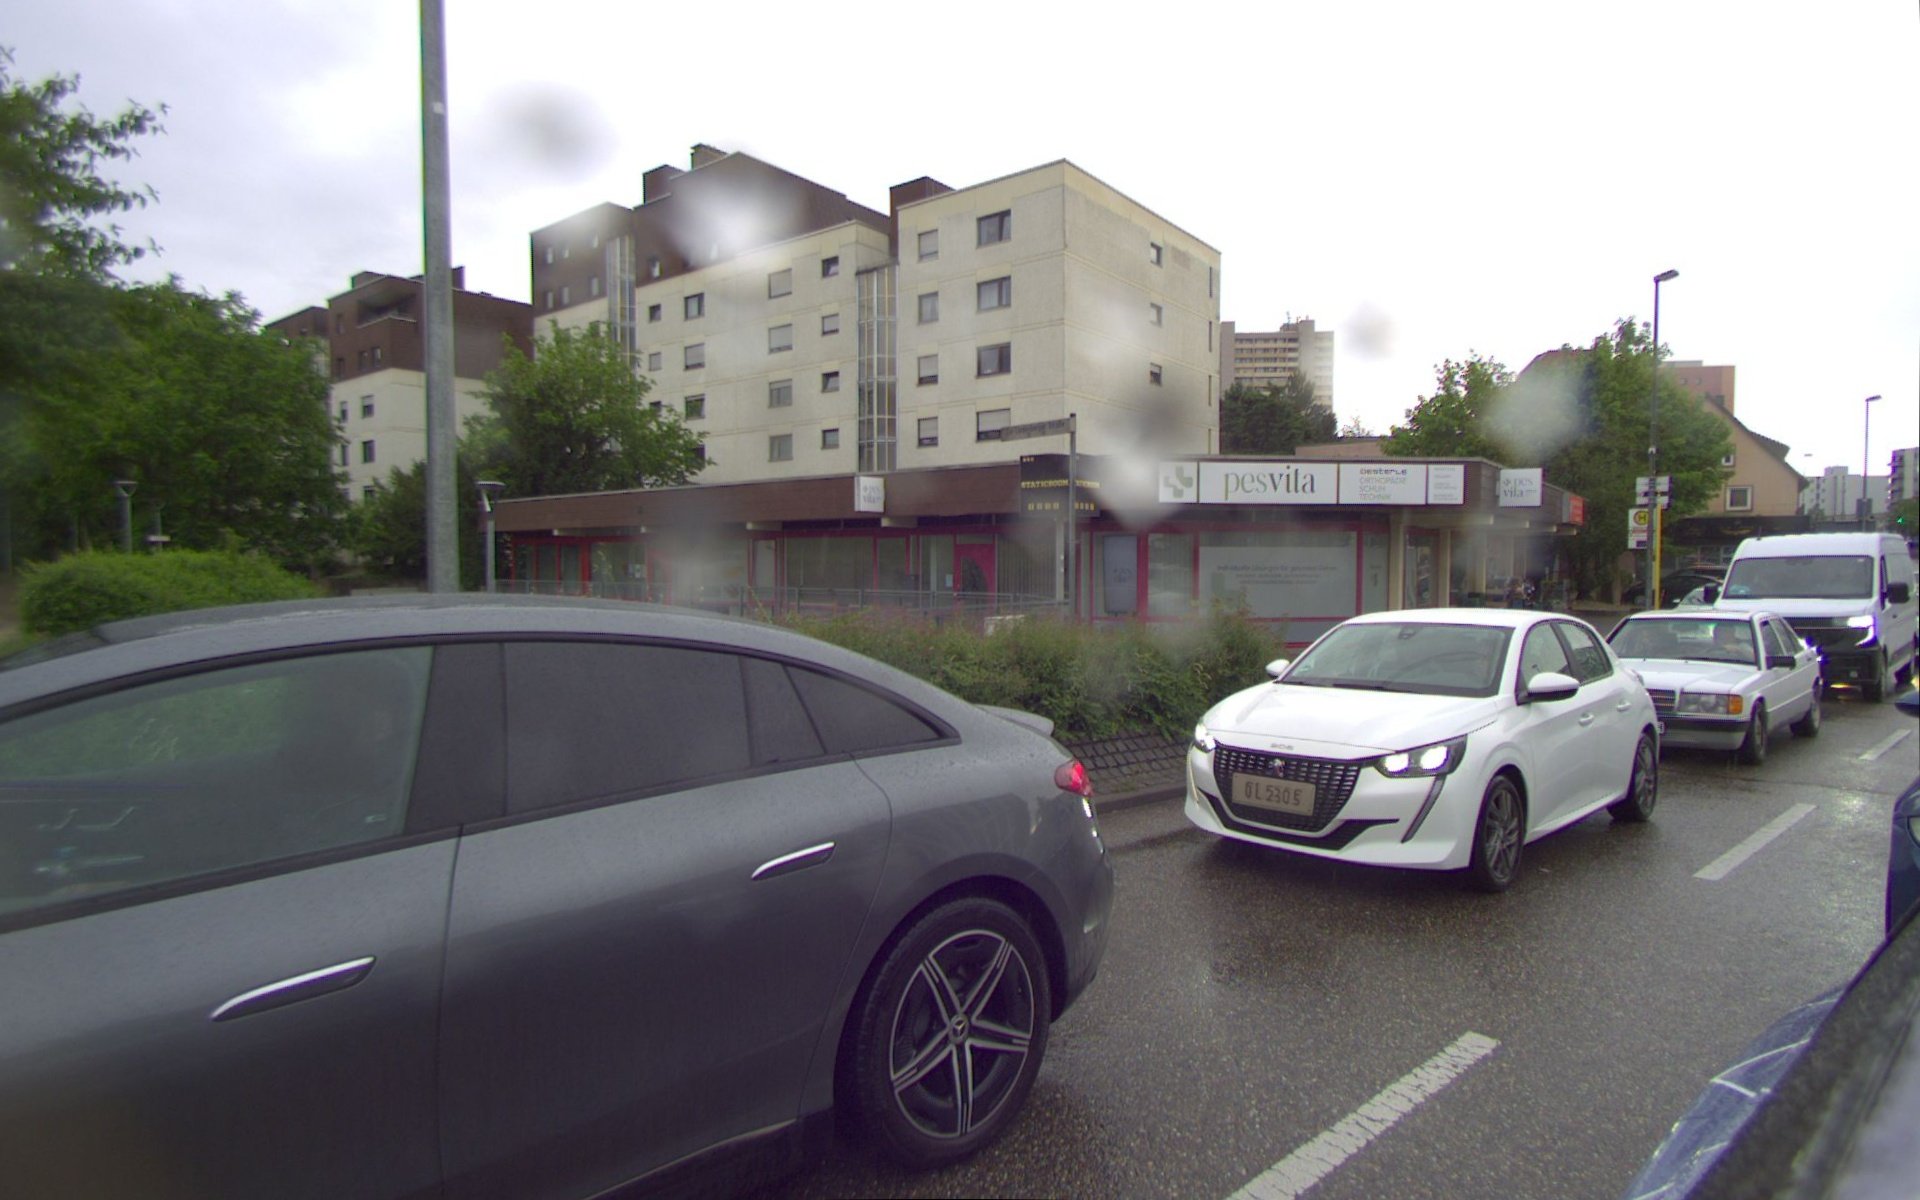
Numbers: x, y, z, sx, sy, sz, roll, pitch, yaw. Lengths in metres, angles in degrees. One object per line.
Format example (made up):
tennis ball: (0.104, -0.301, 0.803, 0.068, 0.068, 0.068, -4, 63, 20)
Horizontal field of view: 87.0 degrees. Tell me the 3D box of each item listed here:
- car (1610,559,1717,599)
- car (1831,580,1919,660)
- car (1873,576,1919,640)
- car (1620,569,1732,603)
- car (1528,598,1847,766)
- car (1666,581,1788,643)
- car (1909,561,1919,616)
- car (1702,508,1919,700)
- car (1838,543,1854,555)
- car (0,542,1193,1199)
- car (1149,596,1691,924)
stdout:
car: (32.879, -0.993, 47.314, 3.981, 1.801, 1.858, 2, 2, 39)
car: (20.096, 0.362, 21.545, 3.930, 1.558, 1.802, -1, 2, -41)
car: (25.699, 0.180, 26.744, 3.933, 1.588, 1.996, -2, 1, -43)
car: (32.000, -0.645, 45.280, 3.981, 1.445, 1.858, 2, 2, 39)
car: (7.666, 0.683, 10.526, 4.089, 1.362, 1.787, -1, 1, -41)
car: (20.245, 0.257, 26.674, 3.930, 1.509, 1.787, -1, 1, -41)
car: (37.508, -0.431, 38.238, 3.931, 2.038, 1.997, -1, 3, -41)
car: (13.966, -0.033, 16.321, 6.021, 2.549, 2.194, -2, 2, -43)
car: (139.510, -8.049, 159.431, 1.657, 1.654, 3.754, 1, 1, 37)
car: (-1.610, 0.666, 2.429, 4.724, 1.485, 1.840, 0, -1, -41)
car: (3.146, 0.710, 6.513, 4.043, 1.433, 1.665, -1, 1, -41)
